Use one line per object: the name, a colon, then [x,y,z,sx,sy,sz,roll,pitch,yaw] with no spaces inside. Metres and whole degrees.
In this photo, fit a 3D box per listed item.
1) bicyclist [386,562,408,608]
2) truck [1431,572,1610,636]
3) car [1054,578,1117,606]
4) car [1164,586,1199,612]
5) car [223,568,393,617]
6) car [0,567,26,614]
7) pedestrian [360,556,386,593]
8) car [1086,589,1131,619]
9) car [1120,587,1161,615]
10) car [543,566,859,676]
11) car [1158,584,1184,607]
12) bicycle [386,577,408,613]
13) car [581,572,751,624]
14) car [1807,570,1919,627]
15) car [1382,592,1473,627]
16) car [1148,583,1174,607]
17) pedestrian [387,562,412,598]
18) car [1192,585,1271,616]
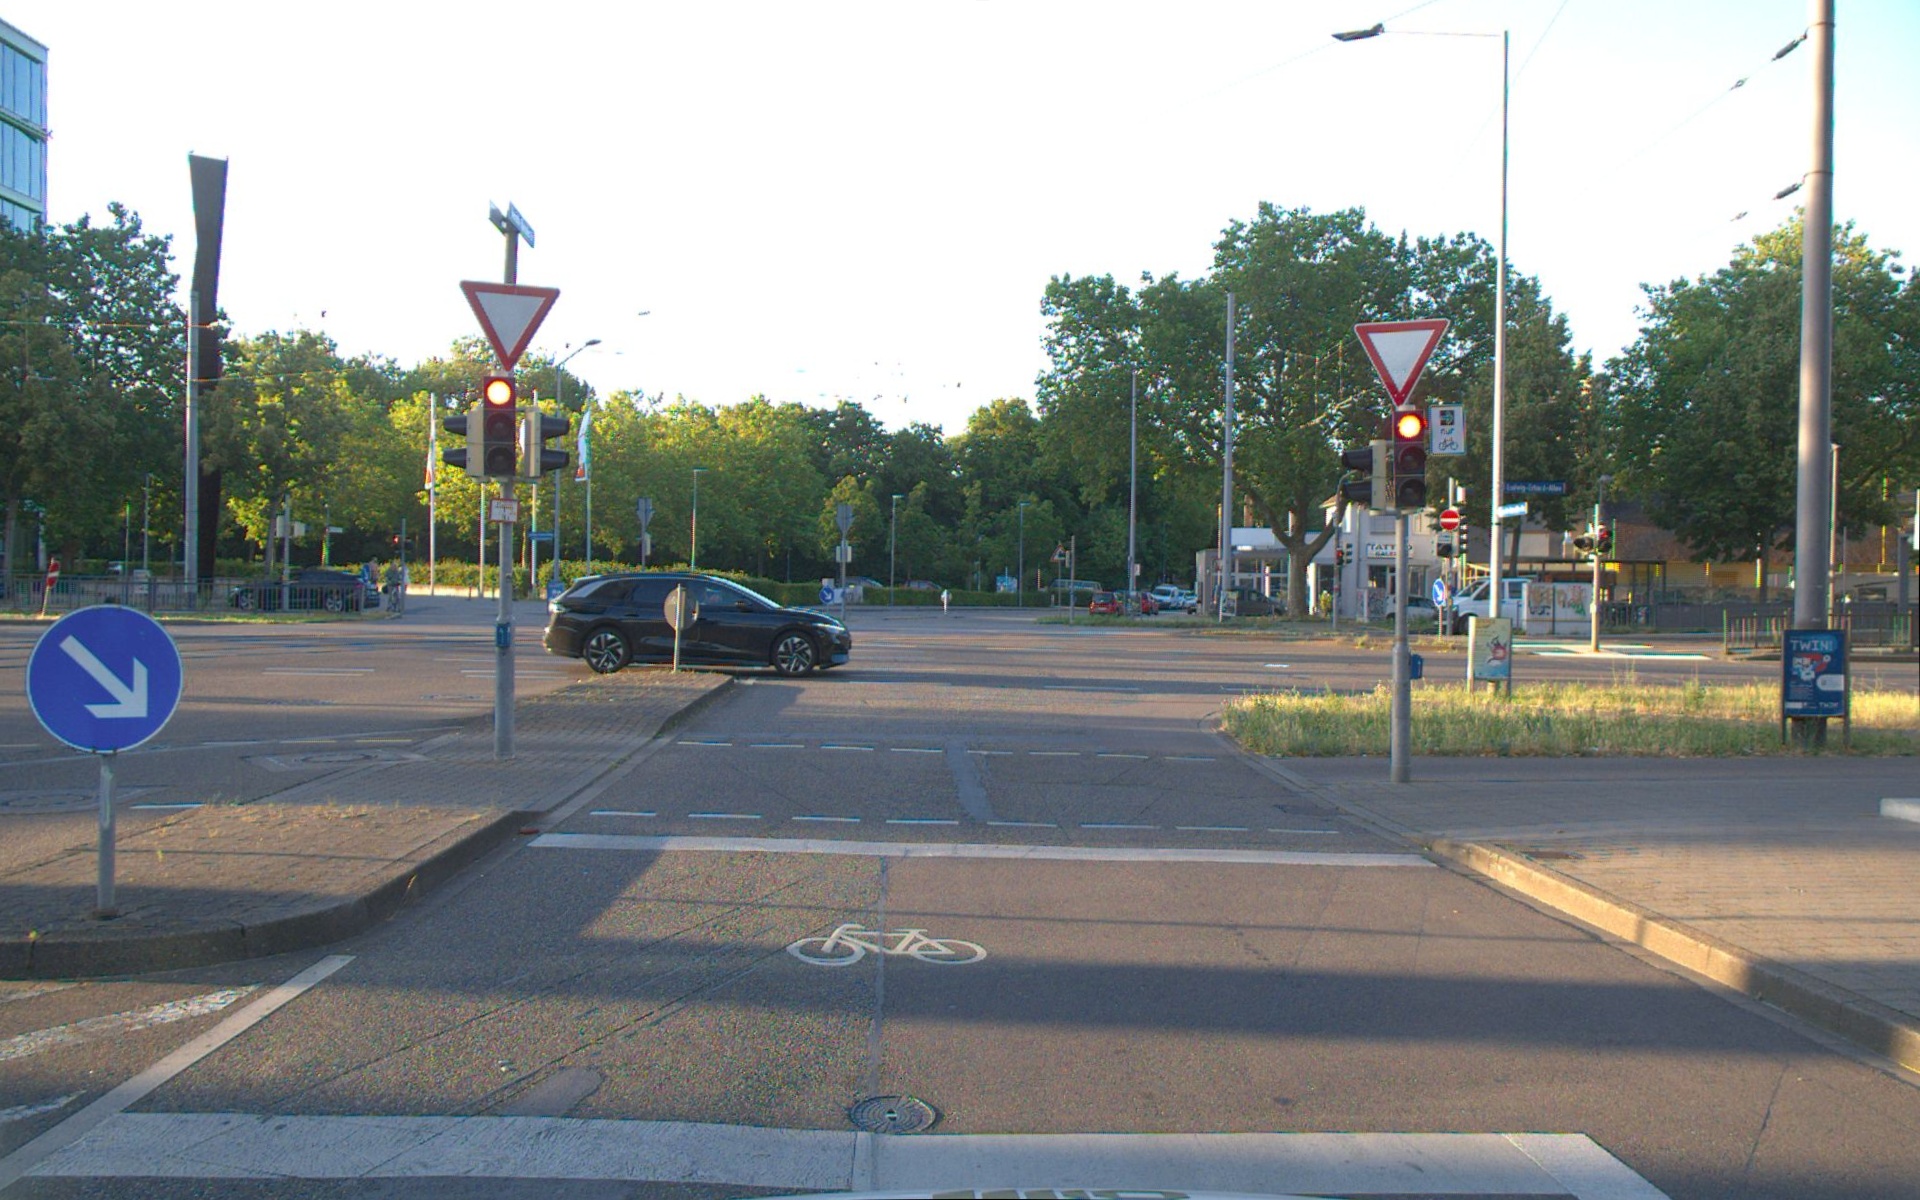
bicyclist: [-21.408,-0.561,62.894,0.740,1.739,0.914,1,0,-22]
truck: [19.278,0.130,57.062,5.443,2.090,2.068,1,0,0]
car: [9.506,-0.585,126.016,4.675,2.041,2.000,1,-1,1]
car: [15.553,-0.059,115.824,1.951,1.691,4.003,0,-1,14]
car: [-22.304,-0.252,56.700,4.997,1.579,1.999,1,-1,-2]
car: [-34.475,-0.332,56.110,4.380,1.579,2.000,1,-1,0]
pedestrian: [-28.509,-1.254,80.324,0.843,1.774,0.829,1,0,25]
car: [8.619,0.224,95.802,1.951,1.691,4.003,0,-1,14]
car: [11.317,0.099,103.532,1.951,1.691,4.003,0,-1,14]
car: [-4.042,0.317,26.543,4.810,1.643,1.999,1,0,-4]
car: [17.406,-0.346,136.342,1.823,1.825,4.003,0,-1,12]
bicycle: [-21.477,-0.202,63.069,0.719,1.364,2.675,1,1,-20]
car: [-9.437,-0.063,53.369,5.119,1.579,1.999,1,-1,-2]
car: [43.646,-0.066,78.691,5.476,2.596,2.231,1,0,7]
car: [20.469,0.410,72.516,3.659,1.465,1.665,1,-1,9]
car: [15.997,-0.357,131.426,1.823,1.825,4.003,1,-1,10]
pedestrian: [-27.638,-1.000,81.599,0.844,1.774,0.828,1,0,31]
car: [14.652,0.029,89.378,4.129,1.579,2.001,1,-1,7]
